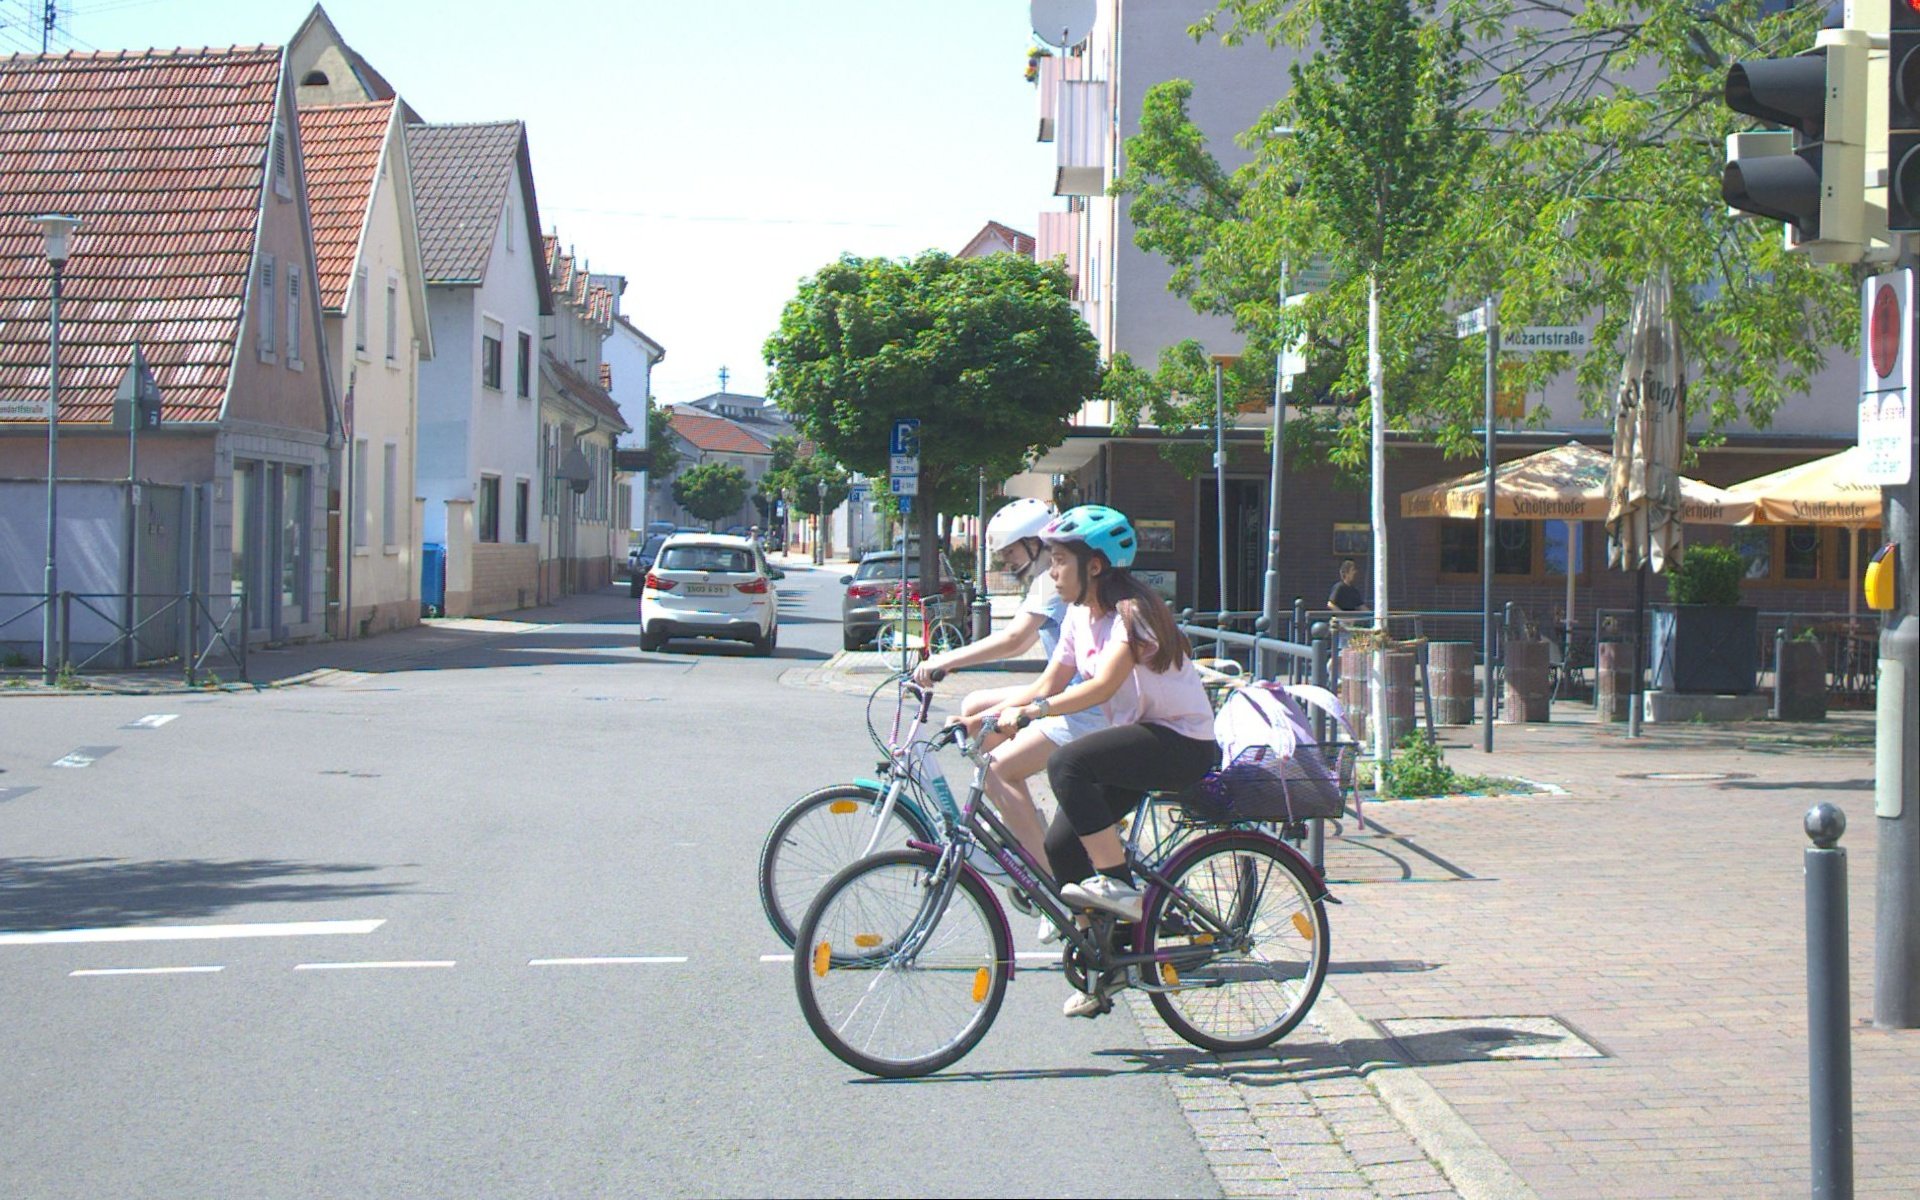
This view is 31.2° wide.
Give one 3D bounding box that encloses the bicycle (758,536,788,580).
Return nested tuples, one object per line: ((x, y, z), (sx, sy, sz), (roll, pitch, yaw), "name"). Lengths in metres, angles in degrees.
((-4.665, -1.054, 85.901), (0.674, 1.090, 1.896), (0, 1, 0), "bicycle")

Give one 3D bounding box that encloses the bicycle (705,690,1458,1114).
((0.331, 0.770, 9.222), (1.889, 0.954, 0.676), (-2, 2, -21), "bicycle")

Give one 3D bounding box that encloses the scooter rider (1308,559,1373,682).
((4.017, 0.217, 36.275), (0.516, 1.281, 0.418), (0, 1, -42), "scooter rider")

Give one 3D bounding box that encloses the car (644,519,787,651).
((-3.437, -0.248, 47.767), (1.833, 1.646, 4.001), (2, 2, -5), "car")

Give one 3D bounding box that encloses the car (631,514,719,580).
((-6.706, -1.257, 81.211), (1.714, 1.512, 3.786), (1, 1, 1), "car")

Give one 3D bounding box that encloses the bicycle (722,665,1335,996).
((0.202, 0.721, 11.002), (1.889, 0.954, 0.676), (-1, 1, -2), "bicycle")

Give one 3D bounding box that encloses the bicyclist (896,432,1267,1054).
((0.317, 0.353, 9.211), (0.759, 1.576, 0.671), (-2, 2, -21), "bicyclist")

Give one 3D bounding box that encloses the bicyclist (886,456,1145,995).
((0.166, 0.381, 10.992), (0.759, 1.658, 0.671), (-1, 1, -2), "bicyclist")

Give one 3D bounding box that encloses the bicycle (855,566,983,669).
((-0.508, 0.201, 41.618), (0.525, 1.189, 1.674), (0, 1, -44), "bicycle")

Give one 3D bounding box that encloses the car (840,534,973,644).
((-0.741, -0.194, 50.387), (1.805, 1.496, 4.000), (1, 2, 1), "car")

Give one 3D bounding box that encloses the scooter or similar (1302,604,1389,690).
((4.059, 0.490, 36.225), (0.379, 0.870, 0.890), (0, 1, -40), "scooter or similar")

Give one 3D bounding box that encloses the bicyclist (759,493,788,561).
((-4.656, -1.822, 85.865), (0.669, 1.685, 0.761), (0, 1, 0), "bicyclist")
